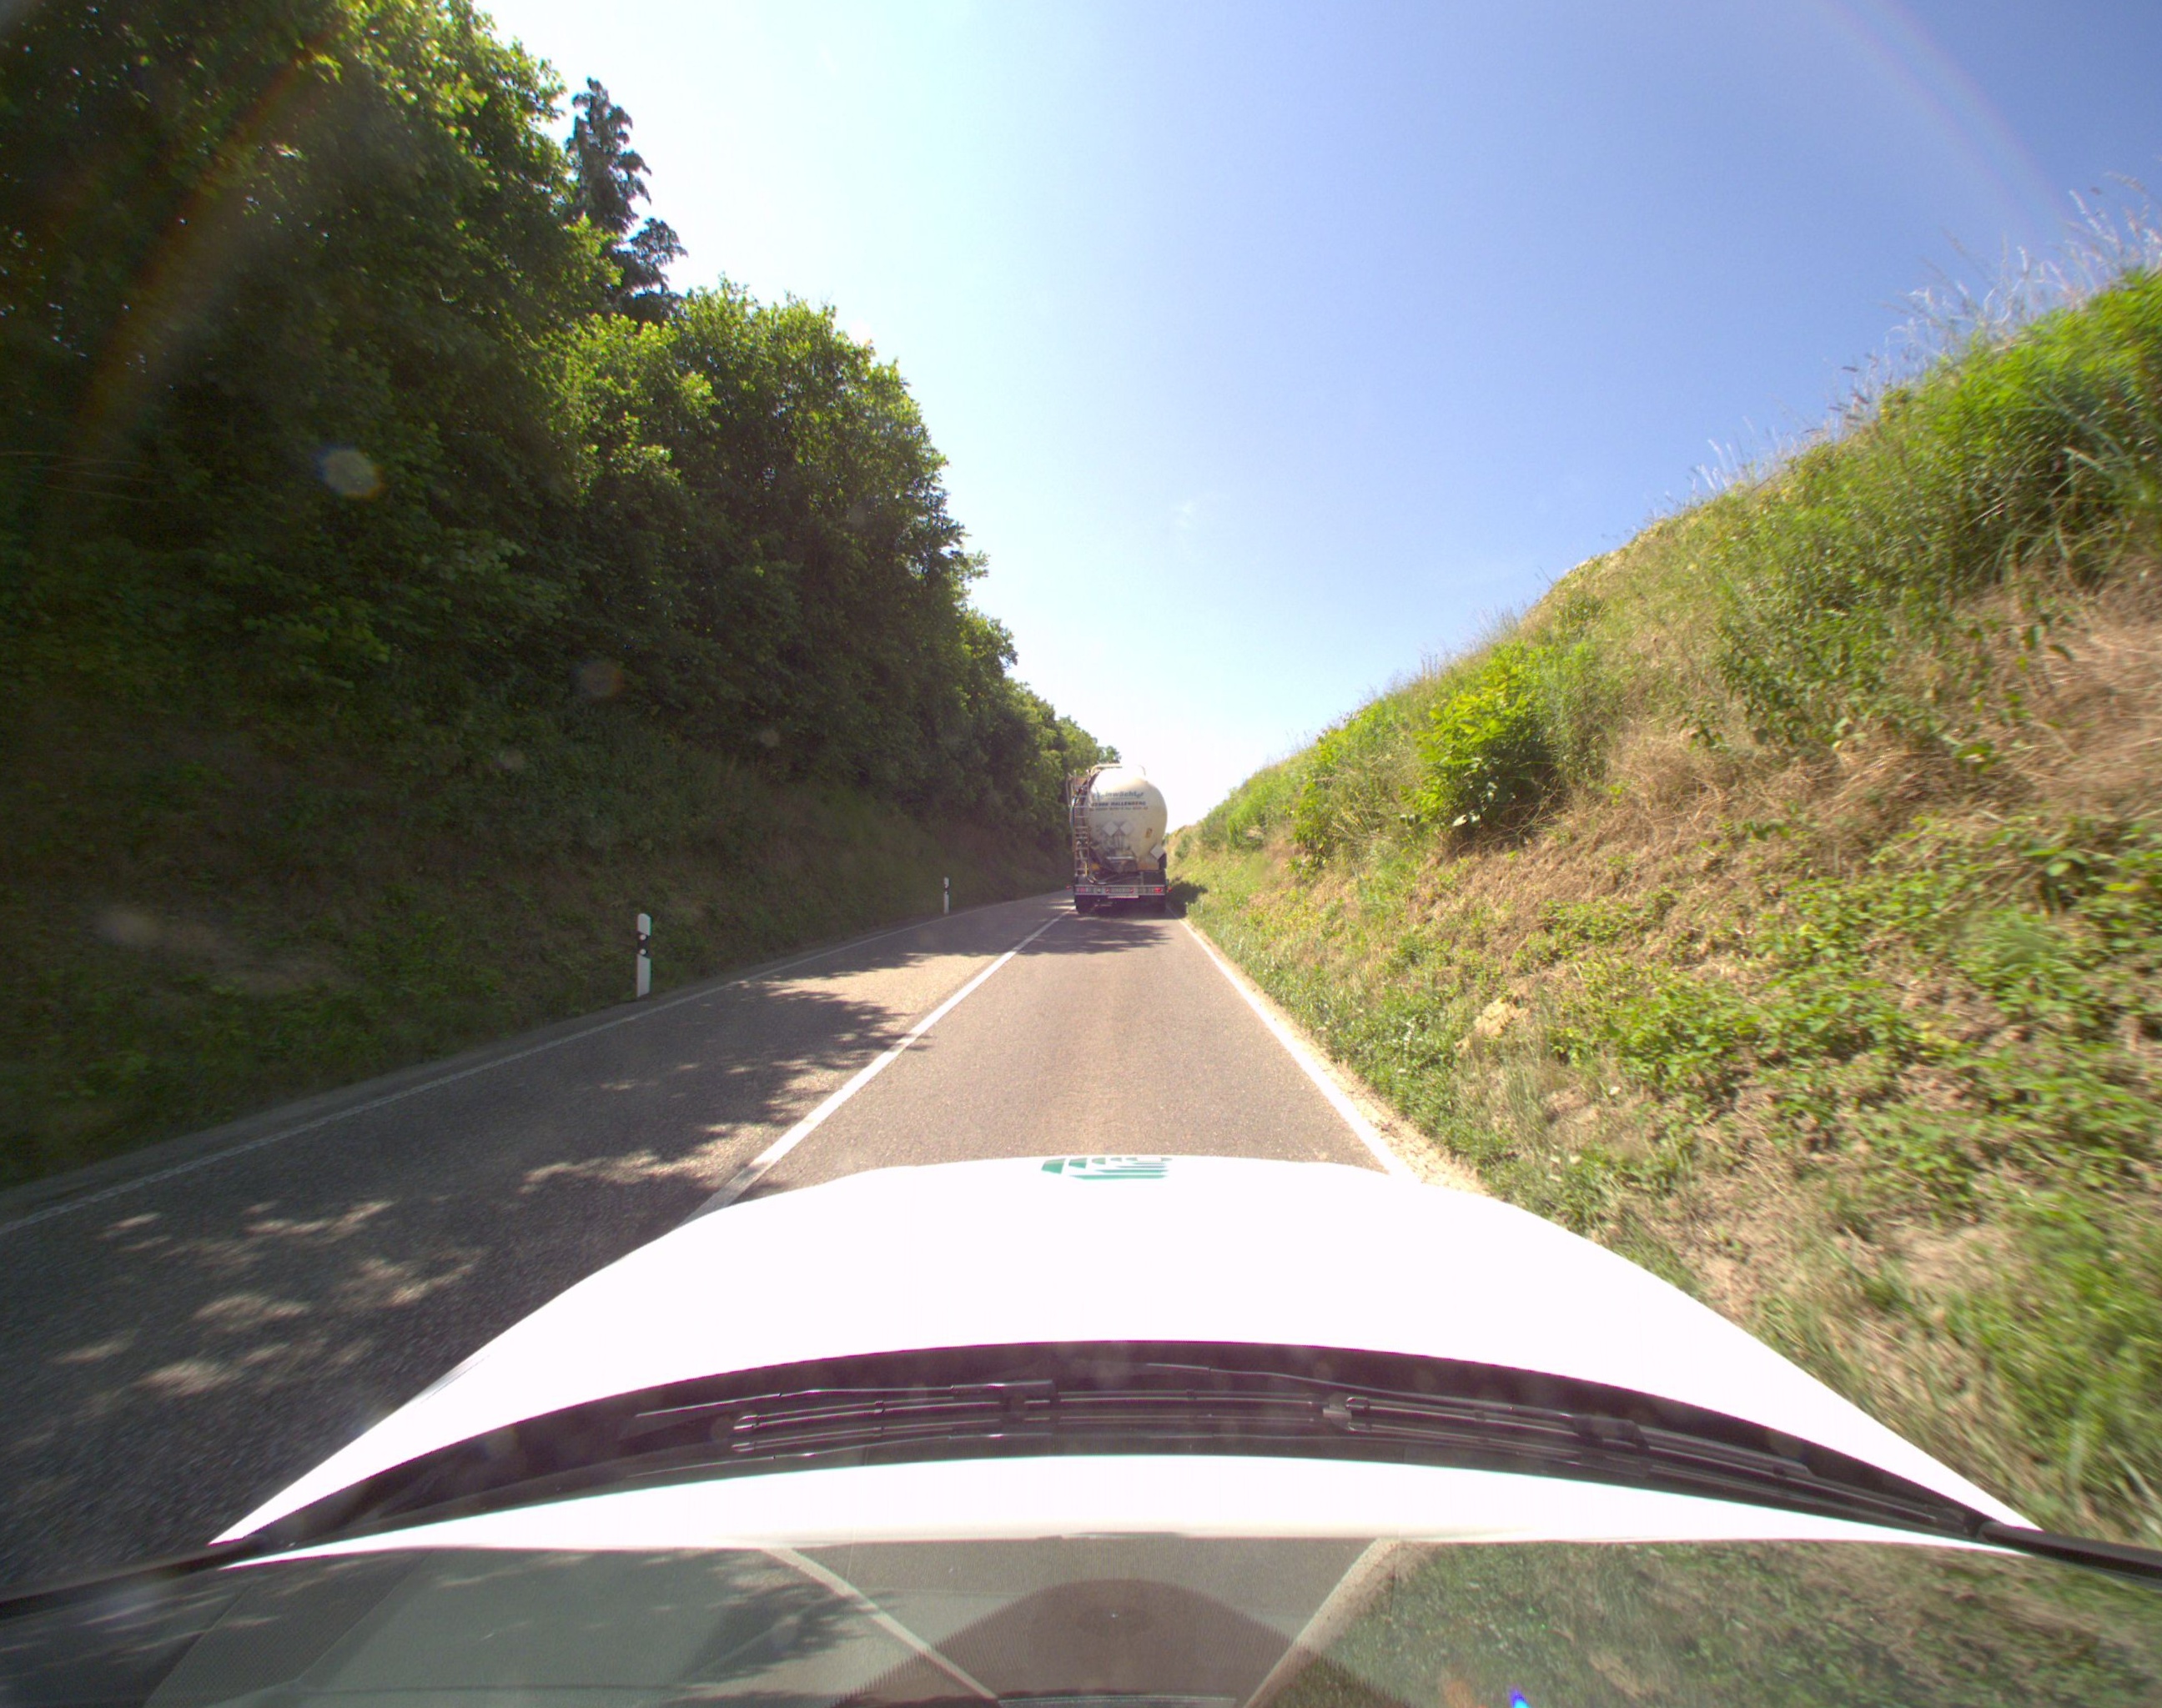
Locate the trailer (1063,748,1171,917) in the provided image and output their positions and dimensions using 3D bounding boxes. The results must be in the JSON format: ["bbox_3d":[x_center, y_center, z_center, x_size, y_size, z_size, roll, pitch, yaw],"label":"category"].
[{"bbox_3d":[1.261,-0.396,26.180,2.650,4.189,11.913,0,-1,4],"label":"trailer"}]

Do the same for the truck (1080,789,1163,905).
[{"bbox_3d":[1.627,-0.133,31.867,2.715,3.930,7.268,-2,-2,3],"label":"truck"}]
